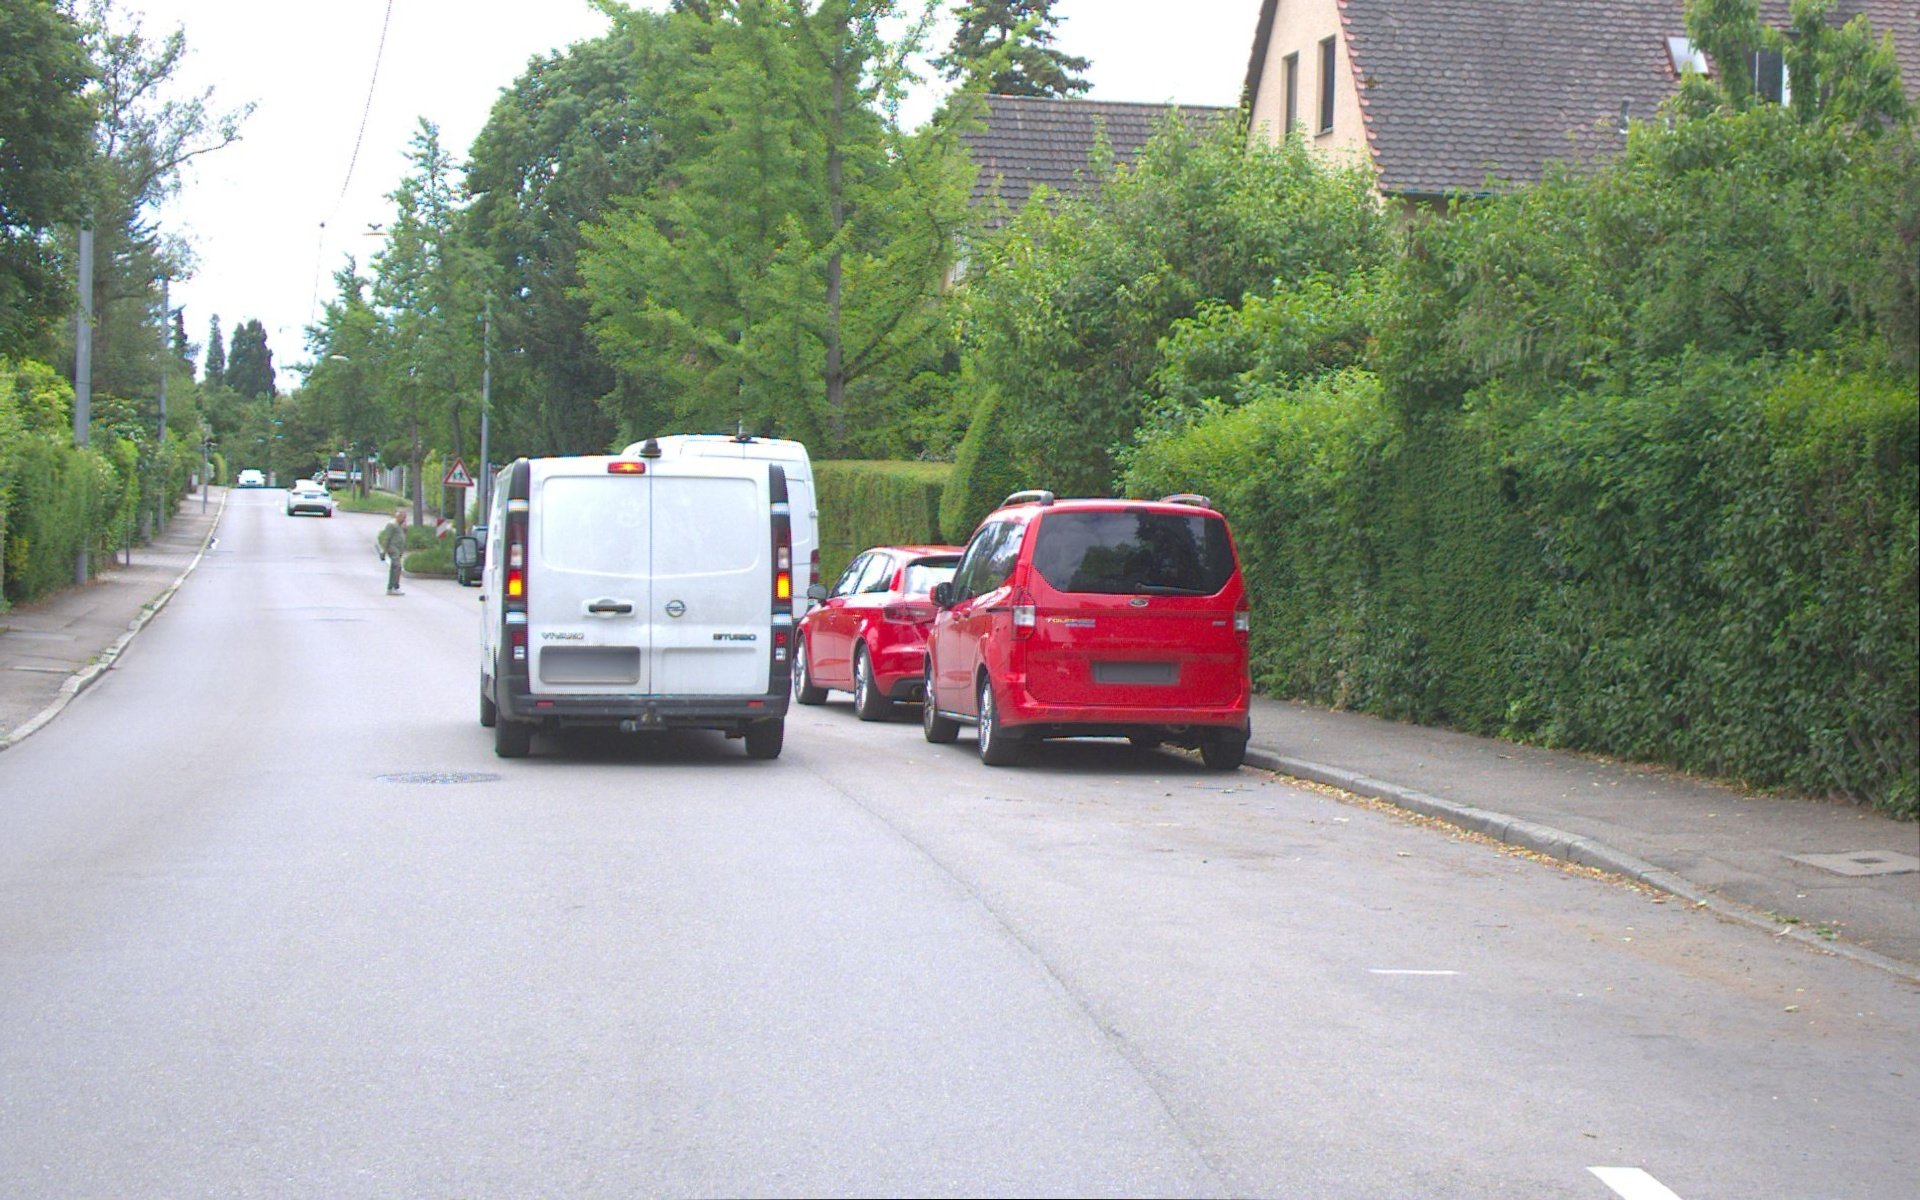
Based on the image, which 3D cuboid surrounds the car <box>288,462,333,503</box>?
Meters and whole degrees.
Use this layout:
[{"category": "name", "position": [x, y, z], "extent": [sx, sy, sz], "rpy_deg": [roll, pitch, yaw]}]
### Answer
[{"category": "car", "position": [-29.620, -5.365, 156.786], "extent": [1.775, 1.645, 3.646], "rpy_deg": [3, 3, -13]}]

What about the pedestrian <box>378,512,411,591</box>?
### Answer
[{"category": "pedestrian", "position": [-11.393, -0.977, 69.272], "extent": [0.555, 1.554, 0.553], "rpy_deg": [3, 2, -8]}]

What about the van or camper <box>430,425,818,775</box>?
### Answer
[{"category": "van or camper", "position": [-2.424, -0.104, 23.547], "extent": [1.923, 2.006, 4.831], "rpy_deg": [4, 2, -13]}]

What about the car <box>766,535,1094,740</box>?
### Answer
[{"category": "car", "position": [-0.339, 0.256, 28.865], "extent": [1.712, 1.462, 4.270], "rpy_deg": [3, 1, -14]}]

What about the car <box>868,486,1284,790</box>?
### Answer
[{"category": "car", "position": [0.663, 0.179, 23.746], "extent": [1.760, 1.791, 4.950], "rpy_deg": [3, 1, -10]}]

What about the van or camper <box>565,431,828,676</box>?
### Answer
[{"category": "van or camper", "position": [-3.358, -0.596, 42.401], "extent": [2.066, 2.665, 6.330], "rpy_deg": [4, 0, -14]}]

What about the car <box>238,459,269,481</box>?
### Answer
[{"category": "car", "position": [-51.455, -9.449, 250.314], "extent": [1.688, 1.470, 3.582], "rpy_deg": [3, 1, -4]}]

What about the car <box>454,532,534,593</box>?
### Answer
[{"category": "car", "position": [-11.165, -0.911, 82.226], "extent": [1.530, 1.300, 3.229], "rpy_deg": [3, 1, -13]}]
